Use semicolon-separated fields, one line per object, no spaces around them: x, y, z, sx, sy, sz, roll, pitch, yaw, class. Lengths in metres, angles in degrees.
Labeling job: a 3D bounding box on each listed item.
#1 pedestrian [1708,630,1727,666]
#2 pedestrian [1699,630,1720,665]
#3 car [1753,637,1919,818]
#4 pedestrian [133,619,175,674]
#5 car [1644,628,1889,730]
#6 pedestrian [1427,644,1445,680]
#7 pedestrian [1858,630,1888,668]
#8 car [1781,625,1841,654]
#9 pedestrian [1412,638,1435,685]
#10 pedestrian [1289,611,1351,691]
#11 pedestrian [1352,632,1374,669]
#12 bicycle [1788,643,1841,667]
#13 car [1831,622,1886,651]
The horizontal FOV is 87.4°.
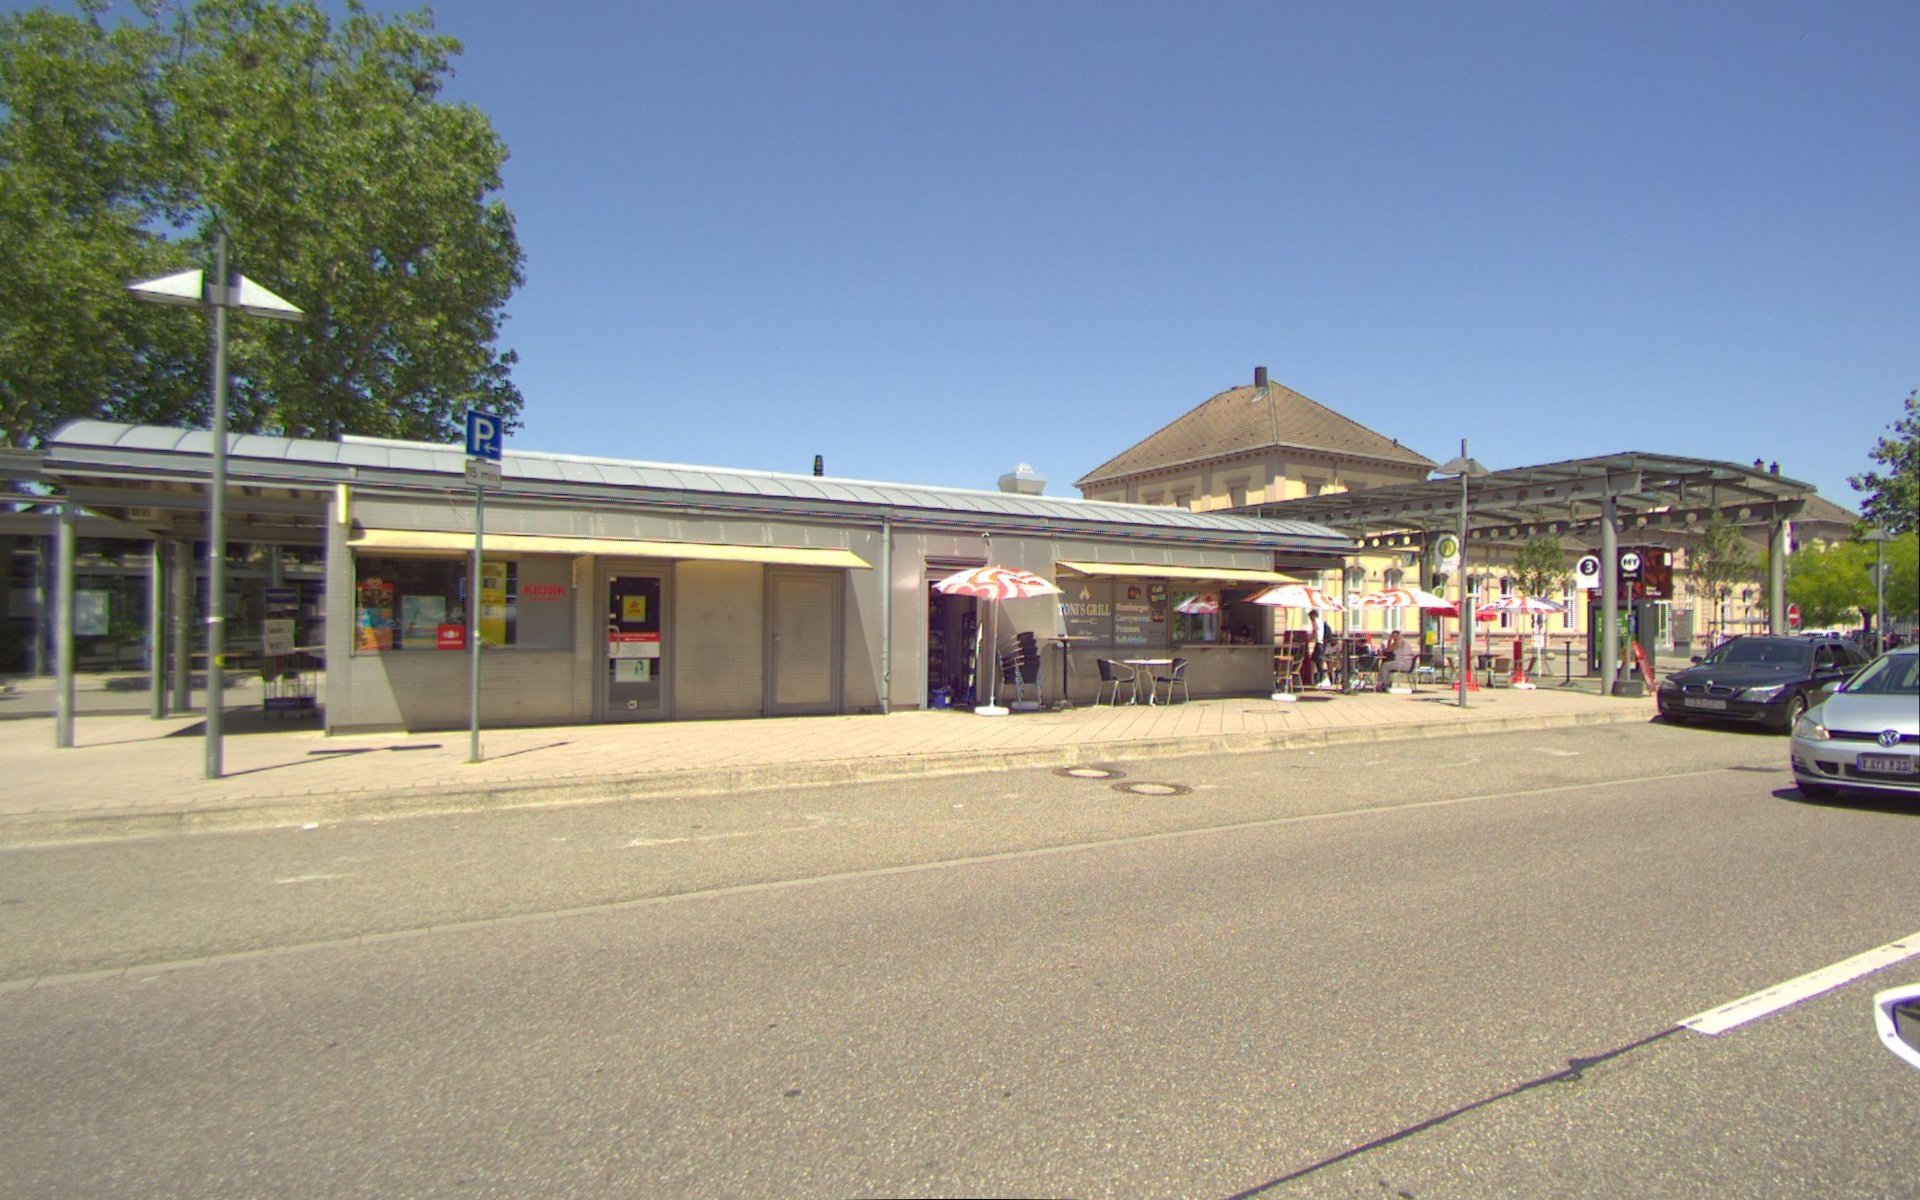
37.181;2.349;49.315;0.573;1.732;0.588;1;-2;14;pedestrian
36.456;2.311;48.849;0.644;1.695;0.632;1;-2;14;pedestrian
9.560;1.088;9.504;4.108;1.463;1.807;1;-3;-30;car
-22.076;1.266;27.514;0.813;1.483;0.602;1;-2;-33;pedestrian
13.570;1.248;16.834;4.732;1.498;1.710;2;-2;-31;car
12.683;1.651;26.757;0.365;0.935;0.425;0;-3;31;pedestrian
41.468;2.213;45.635;0.708;1.681;0.761;2;-2;-13;pedestrian
59.511;2.724;70.204;4.719;1.943;1.743;1;-1;-31;car
11.503;1.519;24.953;0.417;1.137;0.372;1;-2;4;pedestrian
8.545;1.209;23.849;1.123;1.851;0.800;2;-2;-13;pedestrian
10.897;1.365;27.164;0.366;0.985;0.424;2;-2;-17;pedestrian
38.435;2.475;45.203;1.770;1.044;0.487;0;-2;38;bicycle
66.044;2.662;73.814;3.955;2.040;1.983;1;-2;-31;car
